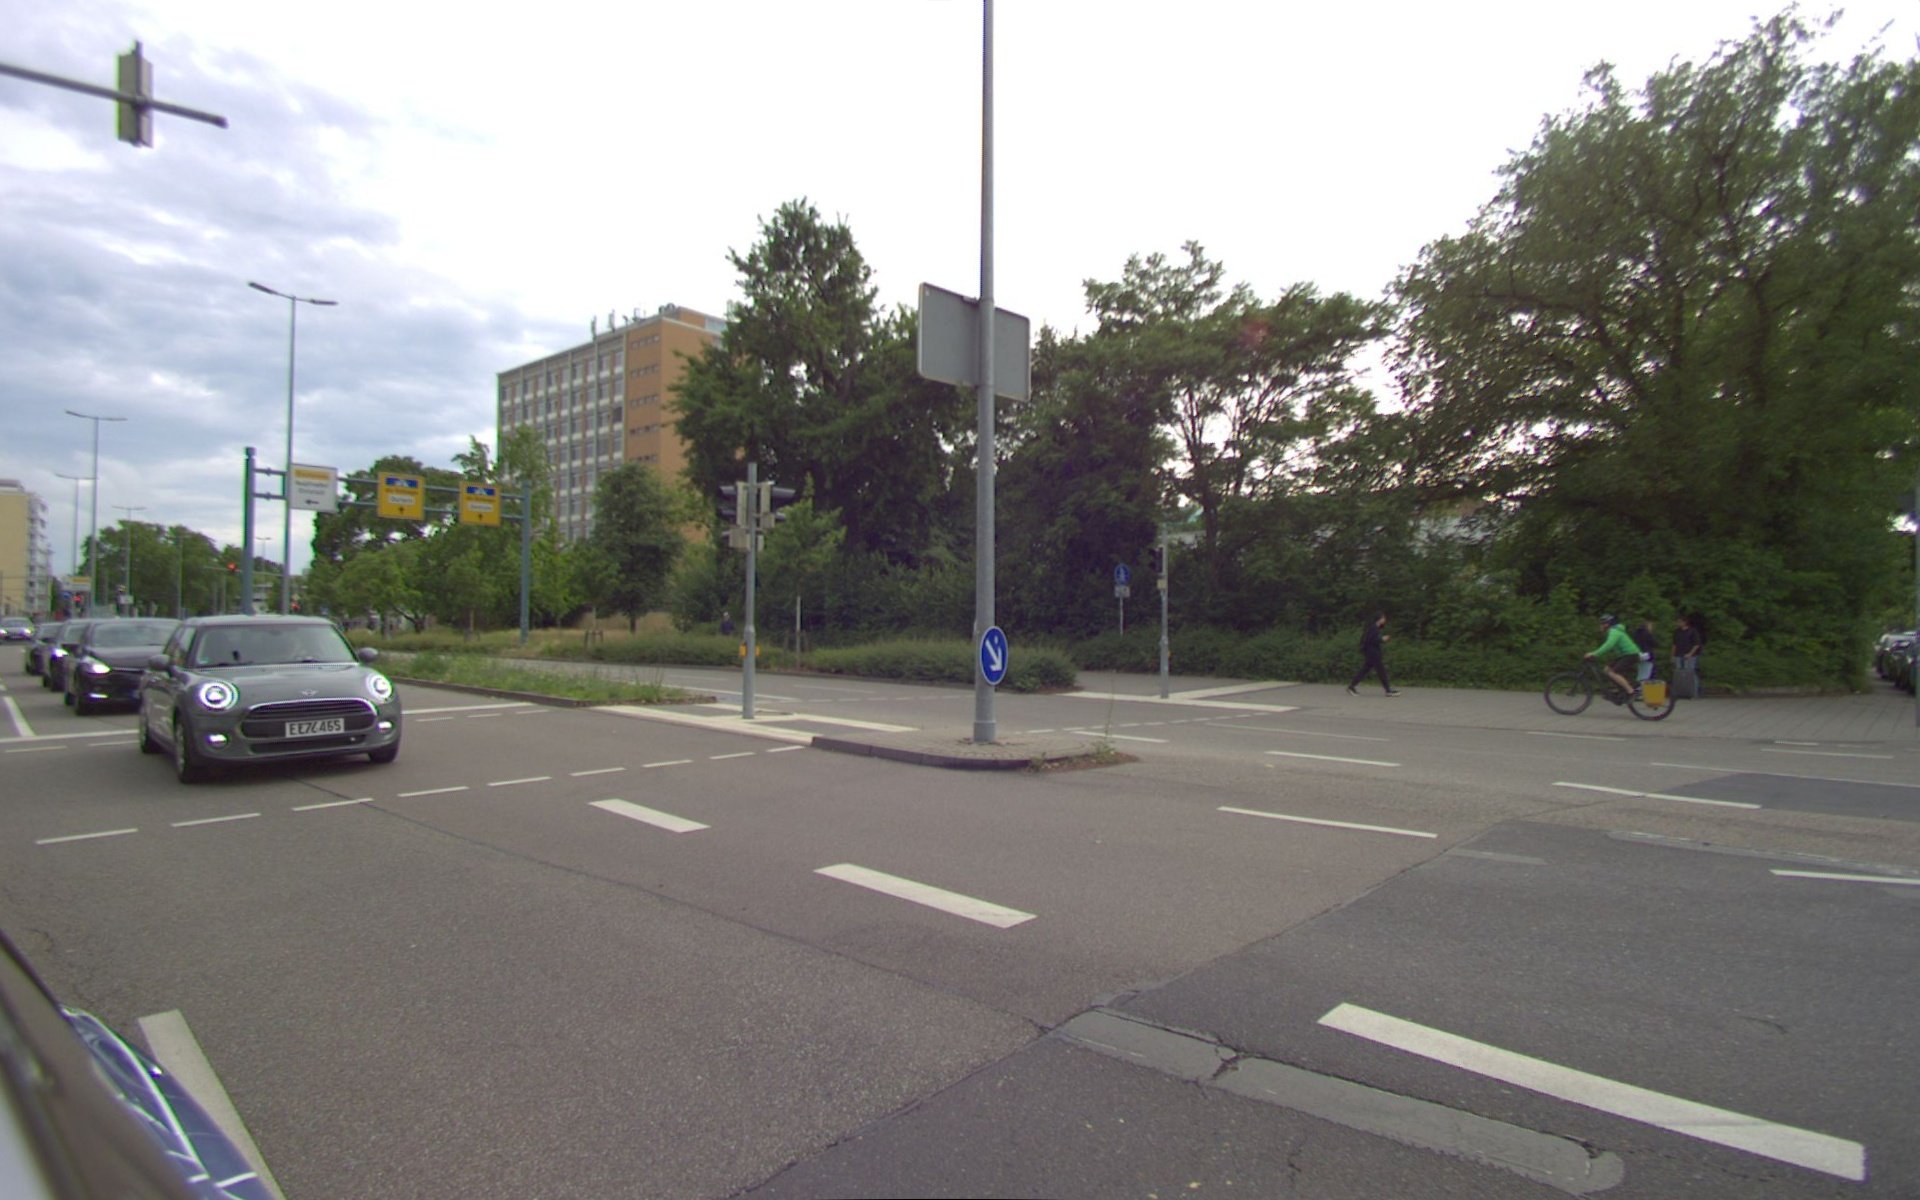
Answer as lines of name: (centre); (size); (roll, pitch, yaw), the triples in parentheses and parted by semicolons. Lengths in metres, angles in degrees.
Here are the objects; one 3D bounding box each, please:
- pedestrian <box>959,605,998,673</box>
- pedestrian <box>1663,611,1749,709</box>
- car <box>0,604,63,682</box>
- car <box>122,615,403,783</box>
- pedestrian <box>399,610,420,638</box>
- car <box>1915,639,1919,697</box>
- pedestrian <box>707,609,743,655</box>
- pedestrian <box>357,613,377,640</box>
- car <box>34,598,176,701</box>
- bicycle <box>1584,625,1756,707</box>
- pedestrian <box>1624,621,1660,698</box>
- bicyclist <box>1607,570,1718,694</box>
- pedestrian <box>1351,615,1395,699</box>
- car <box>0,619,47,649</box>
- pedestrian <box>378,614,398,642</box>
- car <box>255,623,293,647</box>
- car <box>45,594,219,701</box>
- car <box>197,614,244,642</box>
pedestrian: (0.575, 1.182, 31.321); (0.895, 2.029, 0.824); (0, 1, -41)
pedestrian: (15.903, 1.252, 21.601); (1.088, 2.029, 1.038); (-1, 0, 10)
car: (-26.494, 1.166, 28.200); (1.971, 2.029, 4.002); (3, -3, -45)
car: (-6.930, 0.837, 9.906); (1.602, 1.328, 3.707); (2, -3, -45)
pedestrian: (-39.507, 1.708, 72.633); (1.121, 1.933, 1.164); (0, -1, -42)
car: (24.842, 1.722, 24.800); (1.862, 1.461, 3.547); (-1, -1, 40)
pedestrian: (-8.507, 1.137, 36.660); (0.813, 1.637, 0.977); (-1, -1, 42)
pedestrian: (-44.774, 1.987, 76.396); (1.219, 2.029, 0.871); (-1, -1, 37)
car: (-18.610, 1.025, 21.968); (1.971, 2.029, 4.002); (3, -3, -45)
bicycle: (12.116, 1.110, 17.358); (2.295, 1.343, 0.602); (-1, -1, 22)
pedestrian: (14.657, 1.265, 21.754); (0.600, 1.618, 0.498); (-1, -2, 32)
bicyclist: (11.917, 0.529, 17.229); (1.273, 2.029, 1.175); (-1, 0, 22)
pedestrian: (8.624, 1.166, 21.136); (0.653, 1.708, 0.583); (-1, -1, 44)
car: (-52.836, 1.886, 56.855); (4.001, 1.557, 1.971); (-1, 0, 44)
pedestrian: (-43.017, 2.096, 76.122); (1.219, 2.029, 0.871); (-1, -1, 37)
car: (-47.040, 2.366, 69.331); (1.826, 1.564, 4.008); (1, -1, -39)
car: (-13.190, 0.710, 16.040); (1.708, 1.470, 4.002); (2, -3, -45)
car: (-49.727, 1.857, 67.995); (4.001, 1.786, 1.868); (-1, 0, 44)
